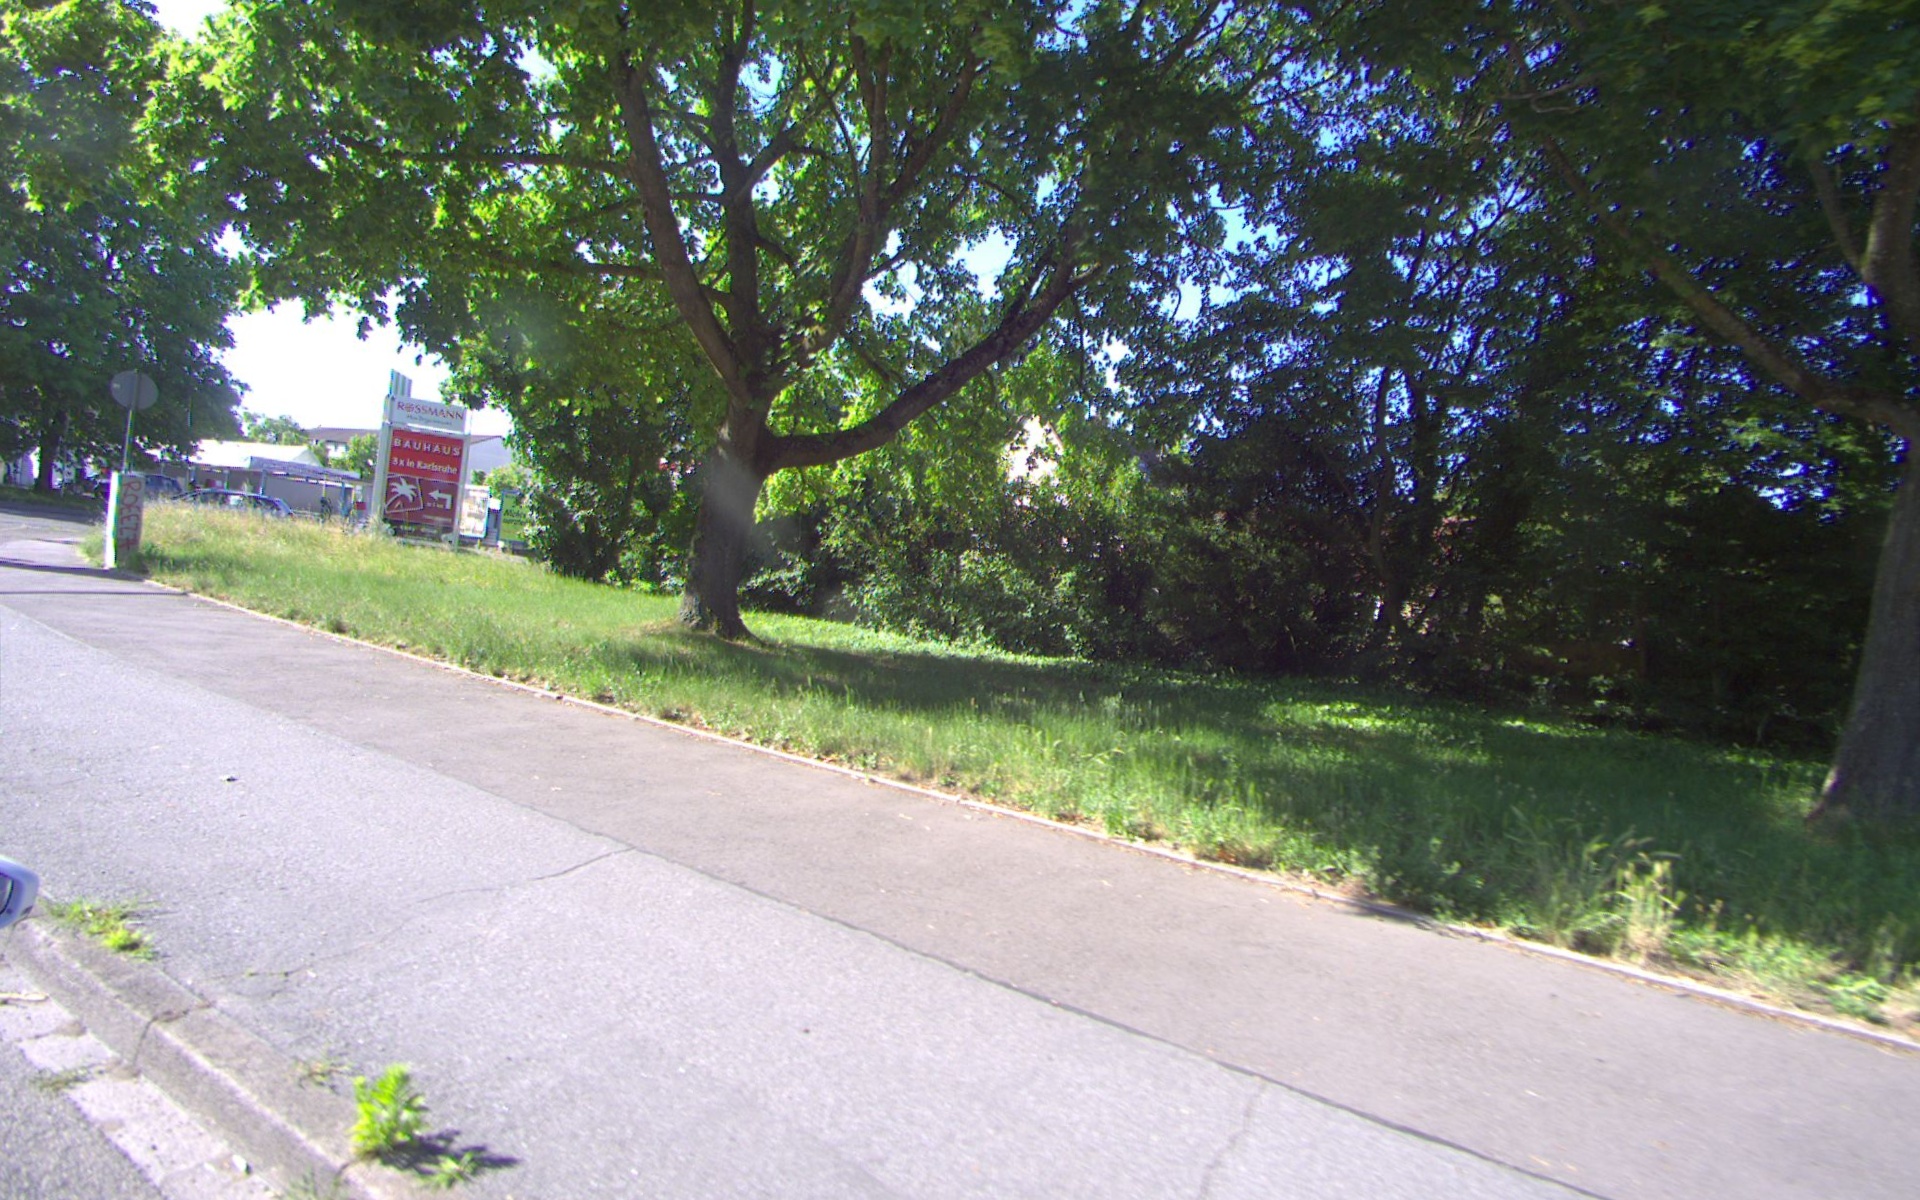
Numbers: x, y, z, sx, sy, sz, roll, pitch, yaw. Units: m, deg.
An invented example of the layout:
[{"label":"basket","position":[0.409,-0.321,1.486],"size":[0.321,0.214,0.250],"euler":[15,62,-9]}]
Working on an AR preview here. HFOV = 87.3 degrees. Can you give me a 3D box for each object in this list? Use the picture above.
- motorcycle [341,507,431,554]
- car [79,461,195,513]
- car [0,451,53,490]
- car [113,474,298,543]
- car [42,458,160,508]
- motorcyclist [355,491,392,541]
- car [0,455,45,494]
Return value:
[{"label":"motorcycle","position":[-21.524,-2.591,37.790],"size":[2.718,1.285,0.824],"euler":[9,-2,-43]},{"label":"car","position":[-38.732,-5.290,47.465],"size":[1.771,1.630,3.853],"euler":[7,-2,12]},{"label":"car","position":[-53.157,-7.329,55.844],"size":[1.675,1.704,3.722],"euler":[7,-2,28]},{"label":"car","position":[-25.135,-3.010,33.635],"size":[1.973,1.593,4.609],"euler":[7,0,42]},{"label":"car","position":[-40.602,-5.513,47.690],"size":[1.771,1.499,3.853],"euler":[7,-2,12]},{"label":"motorcyclist","position":[-21.818,-3.114,37.435],"size":[0.858,1.699,0.824],"euler":[8,-1,-43]},{"label":"car","position":[-47.580,-6.378,49.327],"size":[1.772,1.581,3.850],"euler":[8,-2,-1]}]
